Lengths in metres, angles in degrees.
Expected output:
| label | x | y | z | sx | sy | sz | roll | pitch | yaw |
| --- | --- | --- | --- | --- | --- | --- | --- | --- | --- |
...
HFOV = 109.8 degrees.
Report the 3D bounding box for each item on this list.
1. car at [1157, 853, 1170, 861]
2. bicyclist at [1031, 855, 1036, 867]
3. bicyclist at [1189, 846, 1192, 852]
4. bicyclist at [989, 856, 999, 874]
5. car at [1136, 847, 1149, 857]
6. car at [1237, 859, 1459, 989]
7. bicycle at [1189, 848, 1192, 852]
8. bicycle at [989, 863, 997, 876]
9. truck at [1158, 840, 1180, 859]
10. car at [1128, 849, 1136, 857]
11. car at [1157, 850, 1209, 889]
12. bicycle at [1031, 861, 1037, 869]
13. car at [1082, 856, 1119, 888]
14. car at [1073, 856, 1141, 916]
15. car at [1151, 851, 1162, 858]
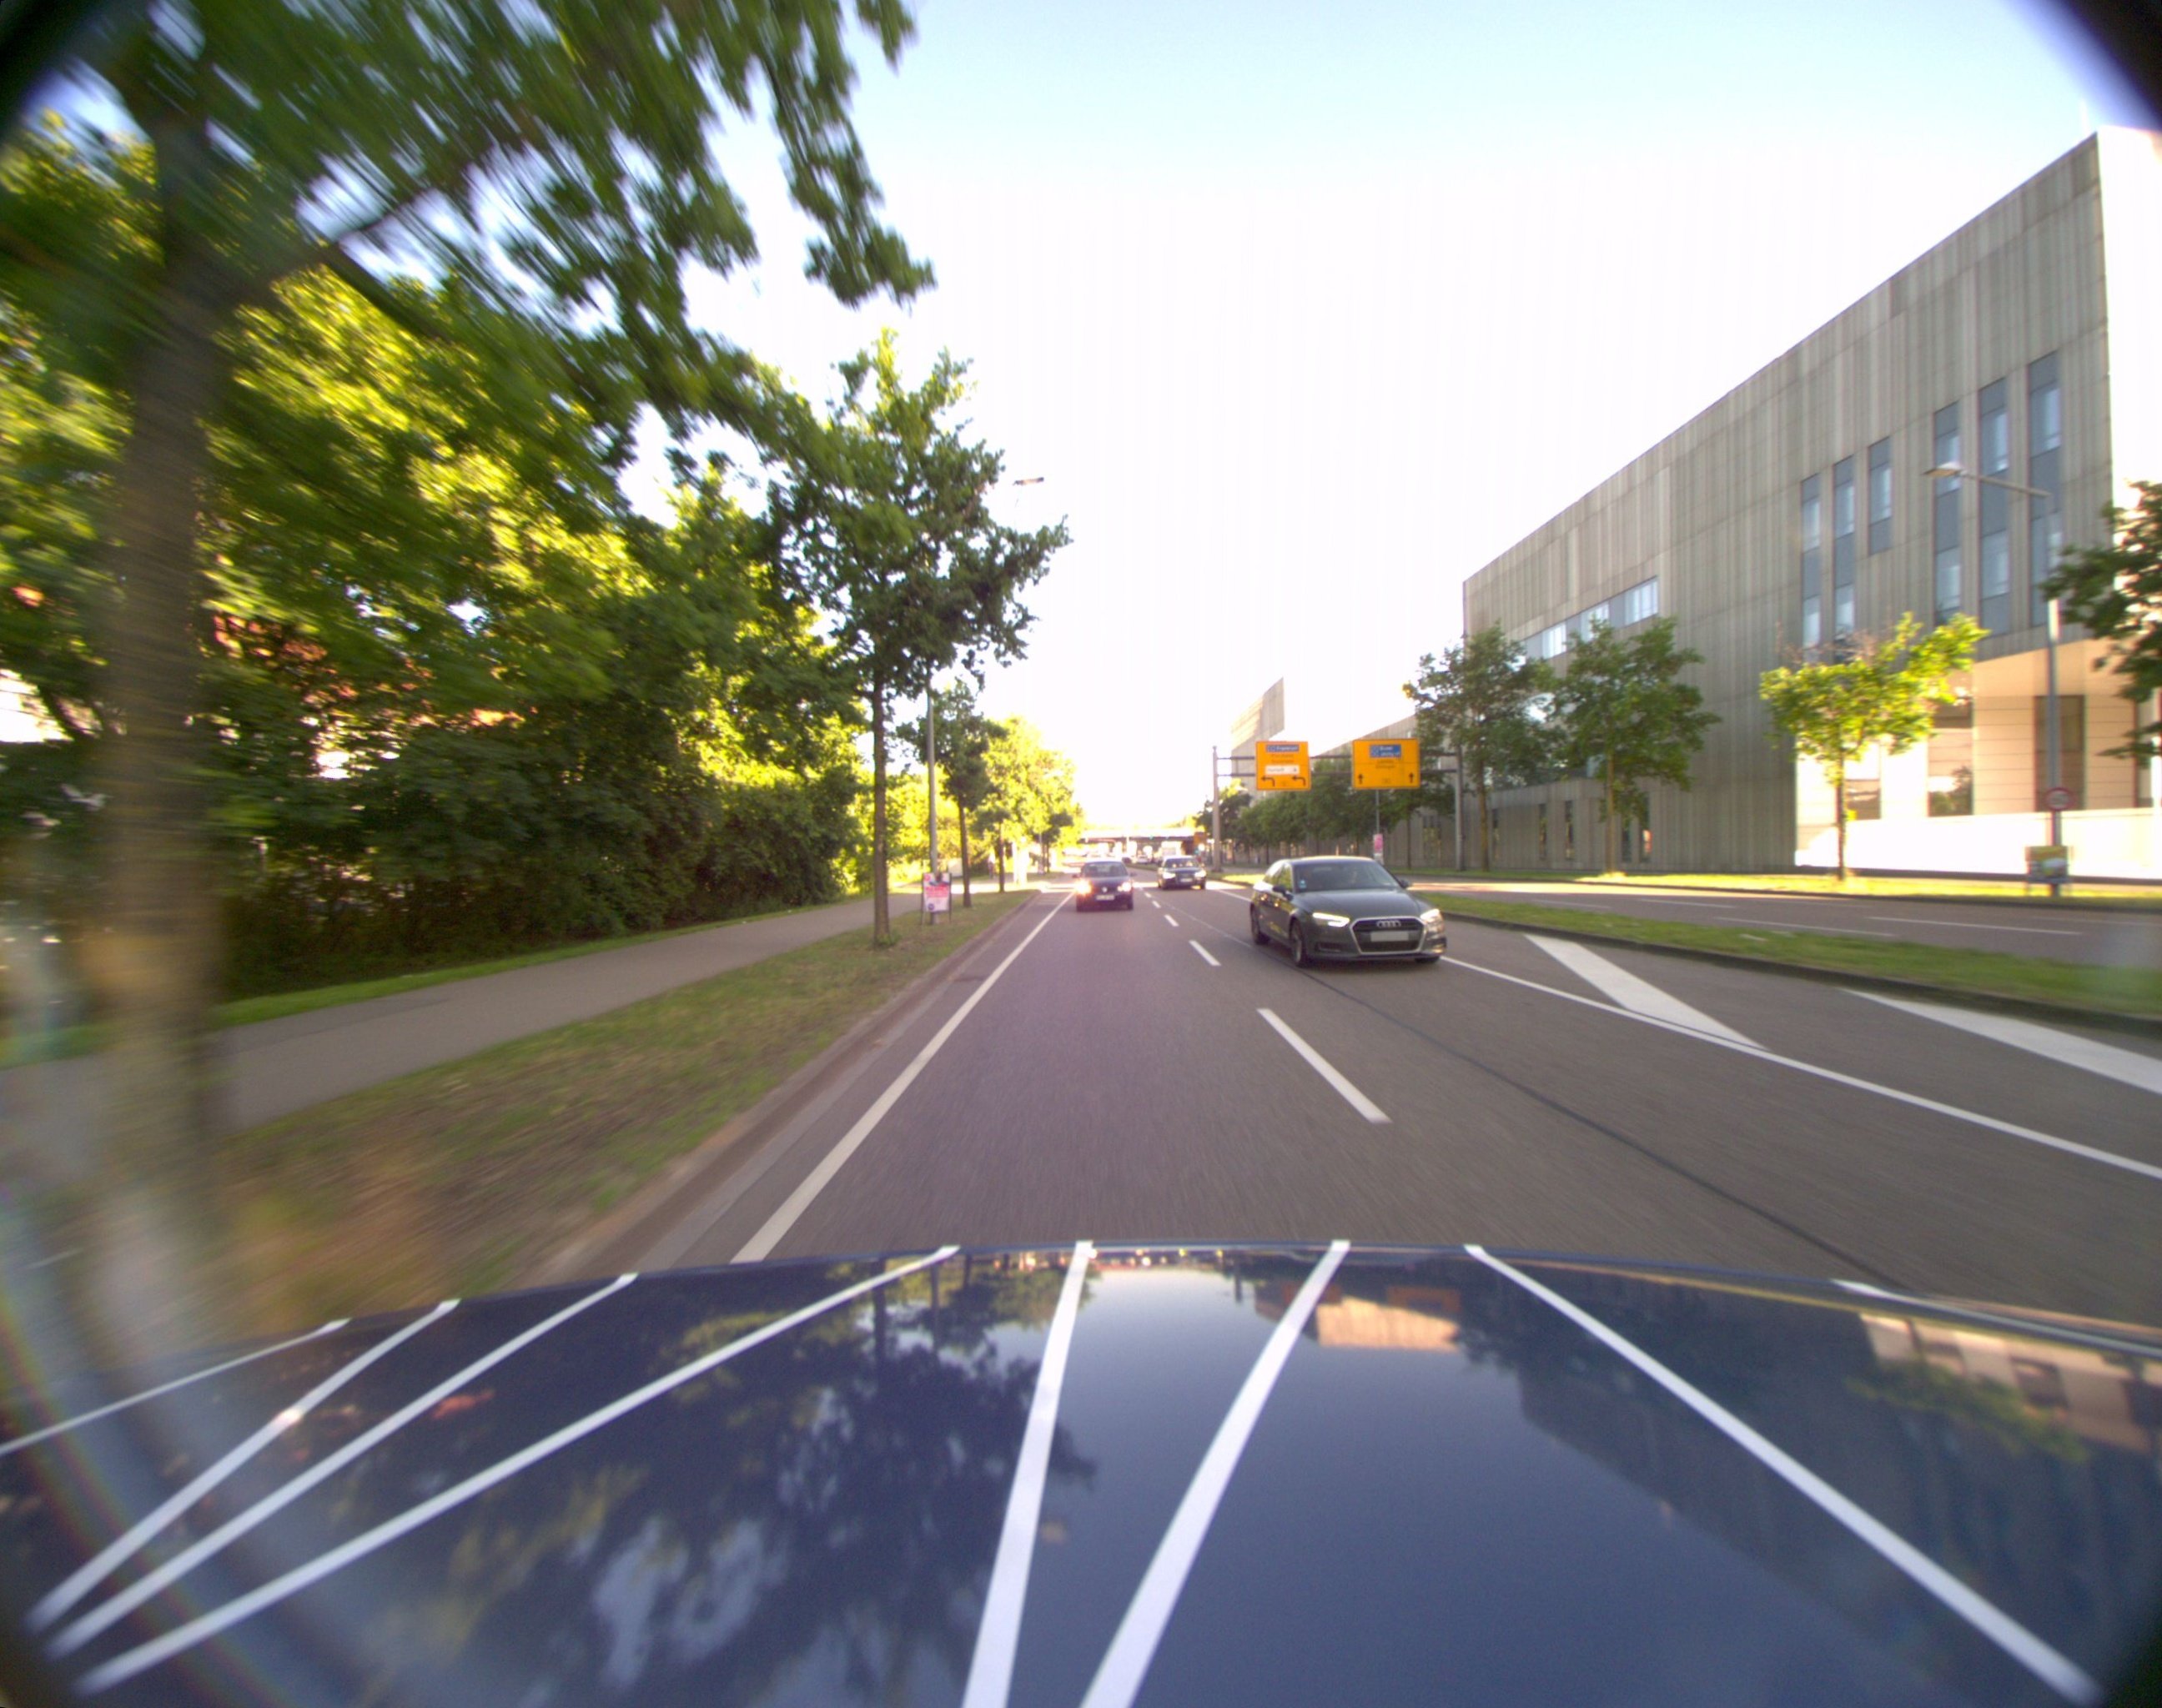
| label | x | y | z | sx | sy | sz | roll | pitch | yaw |
| --- | --- | --- | --- | --- | --- | --- | --- | --- | --- |
| car | 14.032 | 0.533 | 129.624 | 1.840 | 1.415 | 4.000 | 0 | 0 | 0 |
| bicyclist | -6.220 | 0.878 | 100.099 | 0.566 | 1.600 | 0.865 | -2 | 1 | 0 |
| bicyclist | 26.698 | -1.291 | 185.538 | 0.509 | 1.434 | 0.753 | -1 | 1 | -1 |
| bicyclist | -7.424 | 0.928 | 64.761 | 0.687 | 1.513 | 1.035 | -2 | 1 | -3 |
| car | 10.770 | -0.419 | 133.225 | 1.828 | 1.672 | 4.658 | 0 | 0 | 0 |
| car | 3.547 | 0.828 | 10.993 | 1.702 | 1.396 | 4.365 | -2 | 0 | 1 |
| bicycle | 26.707 | -0.899 | 185.591 | 0.513 | 0.885 | 1.754 | -1 | 0 | -1 |
| bicycle | -7.478 | 1.342 | 64.717 | 0.517 | 1.066 | 1.935 | -2 | 1 | -3 |
| truck | 13.794 | -0.702 | 119.006 | 2.693 | 2.943 | 7.114 | 0 | 0 | 1 |
| car | 10.218 | -0.189 | 152.319 | 1.605 | 1.571 | 3.212 | 0 | 1 | 1 |
| car | 4.413 | 0.624 | 33.414 | 1.702 | 1.528 | 3.946 | -3 | 0 | 0 |
| bicycle | -6.205 | 1.414 | 100.188 | 0.573 | 0.986 | 2.046 | -2 | 0 | 0 |
| car | 0.935 | 0.870 | 38.177 | 1.702 | 1.478 | 3.946 | -2 | 0 | 0 |
| car | 0.661 | 0.867 | 21.730 | 1.702 | 1.474 | 4.053 | -2 | -1 | 0 |
| car | 14.039 | 0.089 | 141.452 | 1.624 | 1.461 | 3.640 | 0 | 0 | 1 |
